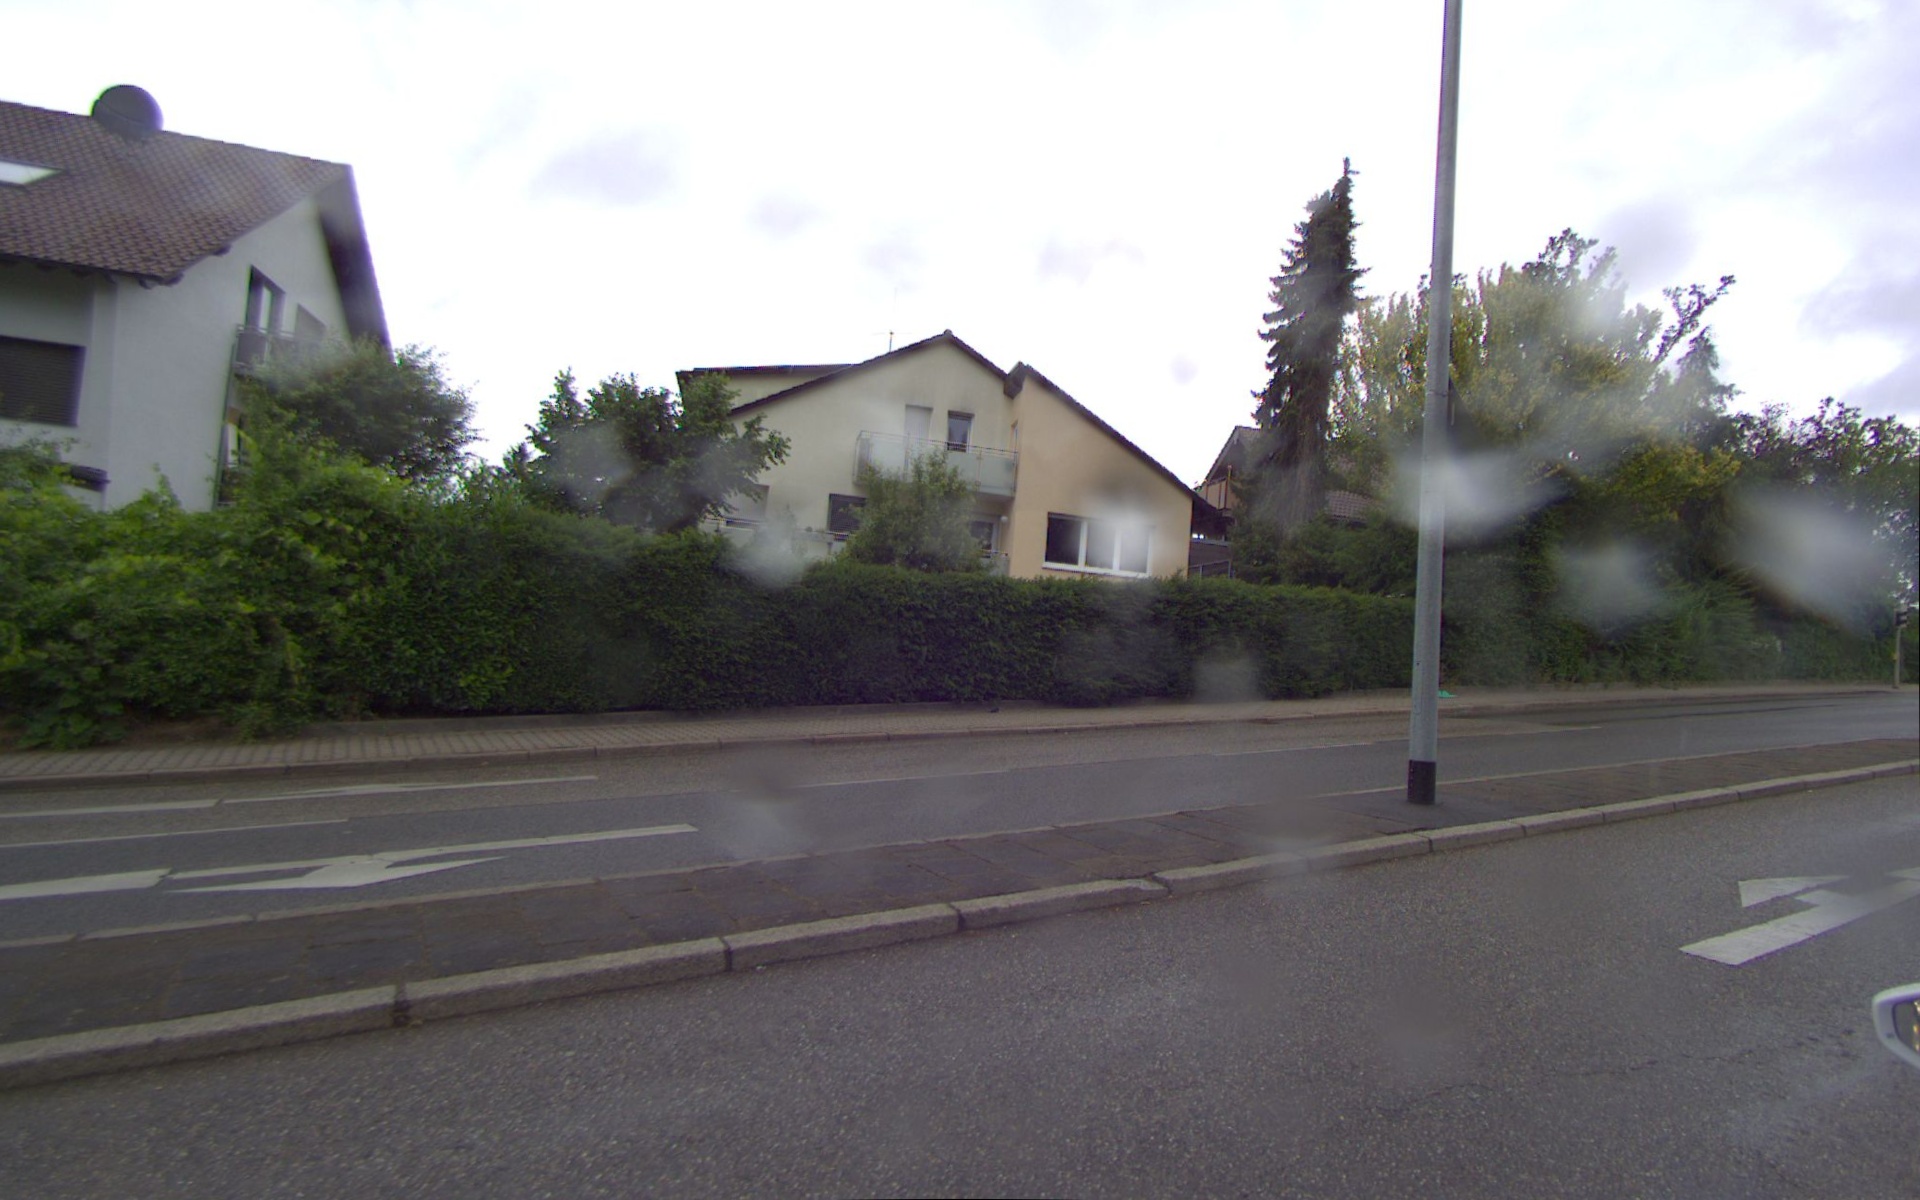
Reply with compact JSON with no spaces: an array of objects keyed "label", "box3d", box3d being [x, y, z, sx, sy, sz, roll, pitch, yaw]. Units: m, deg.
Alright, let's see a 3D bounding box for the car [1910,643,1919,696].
[{"label":"car","box3d":[29.631,2.036,29.481,3.795,1.512,1.851,2,-2,-35]}]
